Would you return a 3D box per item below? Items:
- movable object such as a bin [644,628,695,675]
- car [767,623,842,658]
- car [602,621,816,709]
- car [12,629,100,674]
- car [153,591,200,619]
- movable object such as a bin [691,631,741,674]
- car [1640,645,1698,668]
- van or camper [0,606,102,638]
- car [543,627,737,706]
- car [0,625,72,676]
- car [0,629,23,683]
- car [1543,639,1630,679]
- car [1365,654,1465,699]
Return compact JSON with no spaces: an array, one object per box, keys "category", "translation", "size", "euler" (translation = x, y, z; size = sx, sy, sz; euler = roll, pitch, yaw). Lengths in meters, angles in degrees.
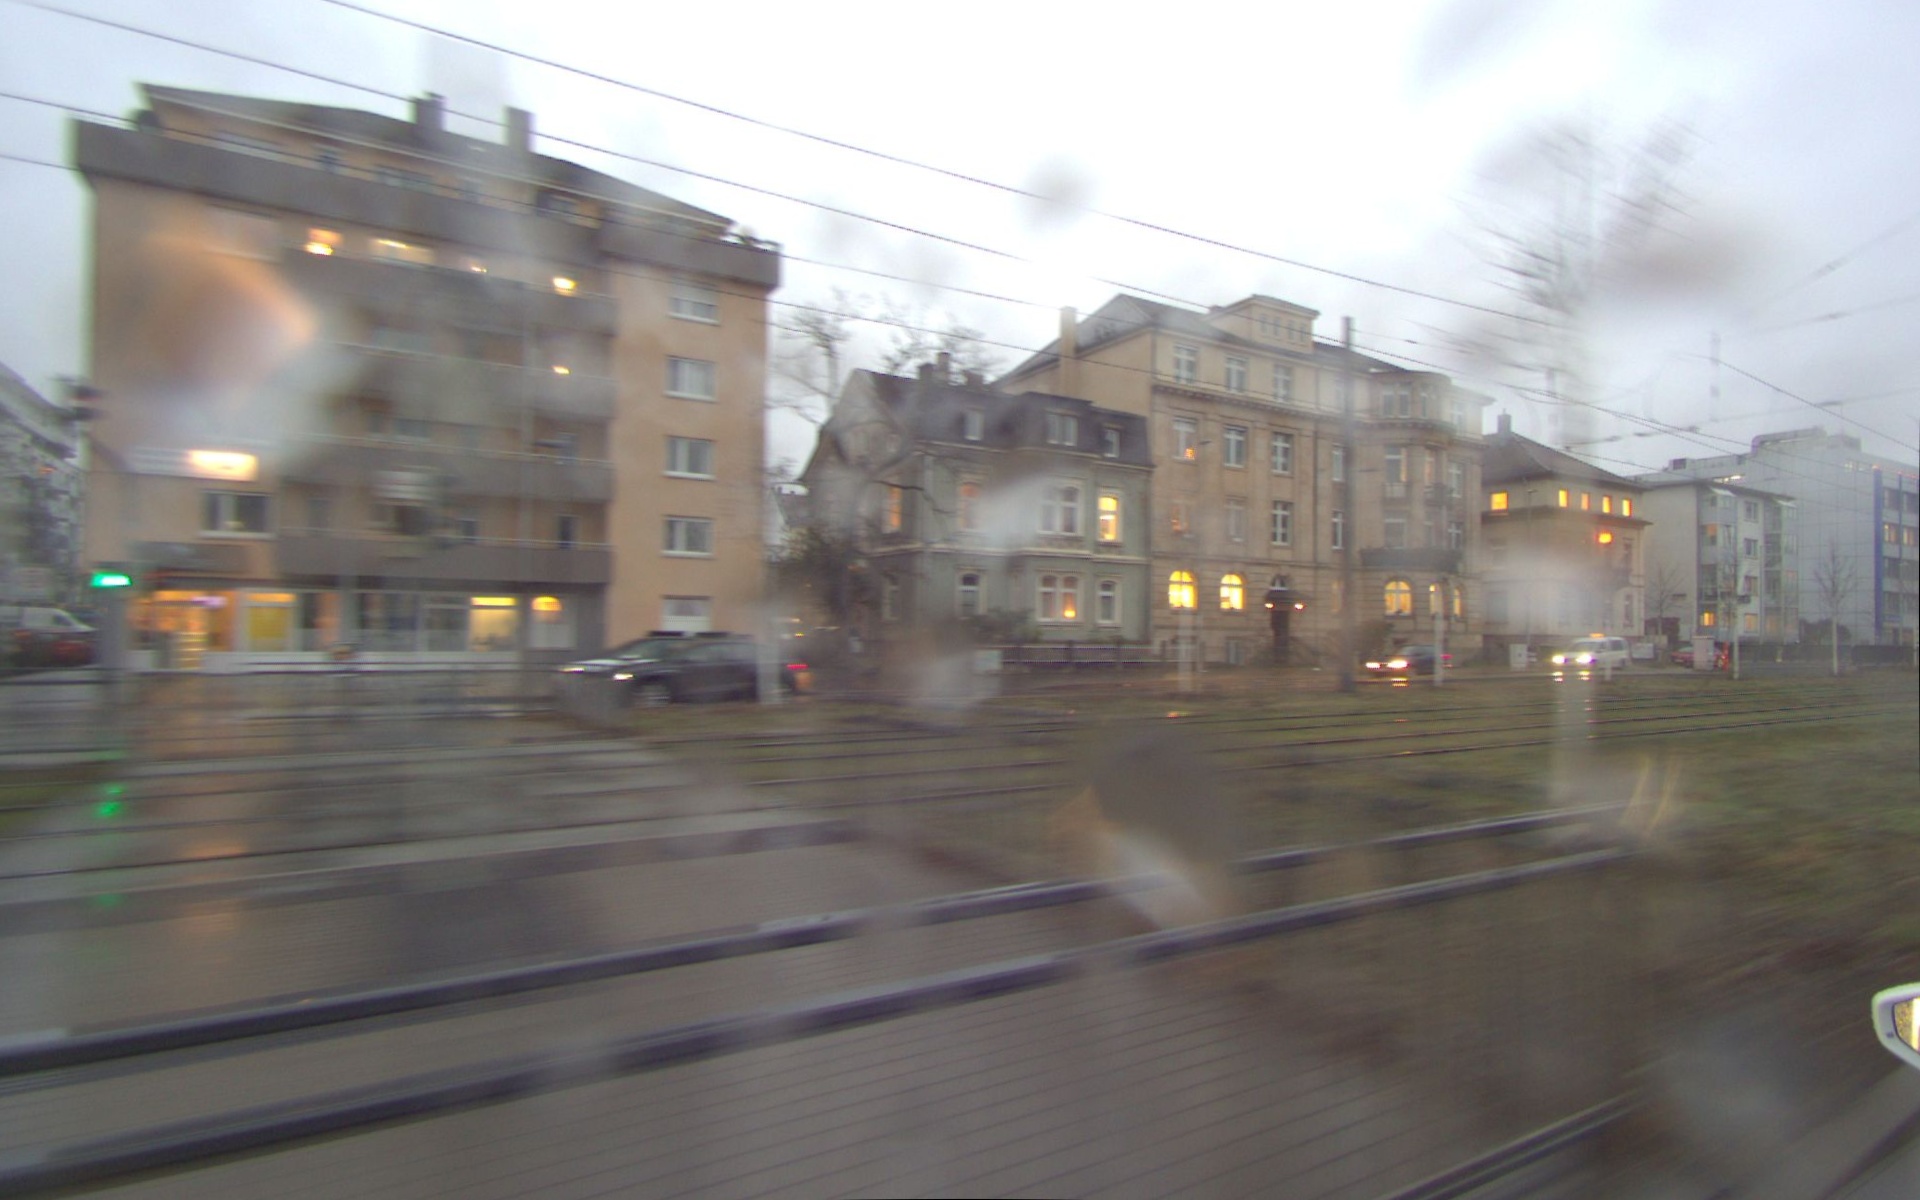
[{"category":"movable object such as a bin","translation":[-9.946,1.744,34.419],"size":[1.410,1.581,1.101],"euler":[1,-2,-33]},{"category":"car","translation":[-6.795,1.733,43.669],"size":[1.813,1.425,3.966],"euler":[2,-2,-32]},{"category":"car","translation":[-5.207,1.332,20.956],"size":[3.955,1.606,1.791],"euler":[3,0,-32]},{"category":"car","translation":[-34.266,1.937,38.178],"size":[1.738,1.572,3.806],"euler":[2,-2,-31]},{"category":"car","translation":[-47.863,0.330,61.419],"size":[1.738,1.572,3.806],"euler":[2,-2,-31]},{"category":"movable object such as a bin","translation":[-8.571,1.831,35.278],"size":[1.410,1.500,1.101],"euler":[1,-2,-33]},{"category":"car","translation":[46.421,3.669,65.774],"size":[3.885,1.455,1.796],"euler":[2,-2,-33]},{"category":"van or camper","translation":[-66.851,1.611,73.672],"size":[5.566,2.272,1.984],"euler":[2,-2,-30]},{"category":"car","translation":[-7.386,1.517,23.286],"size":[3.955,1.606,1.791],"euler":[3,0,-32]},{"category":"car","translation":[-31.516,1.668,33.799],"size":[1.738,1.572,3.806],"euler":[2,-2,-31]},{"category":"car","translation":[-28.884,1.626,29.087],"size":[1.758,1.572,3.806],"euler":[2,-2,-31]},{"category":"car","translation":[32.253,2.987,51.664],"size":[4.860,1.958,1.982],"euler":[2,-2,-33]},{"category":"car","translation":[19.026,3.143,41.968],"size":[4.068,1.715,1.982],"euler":[2,-2,-33]}]
